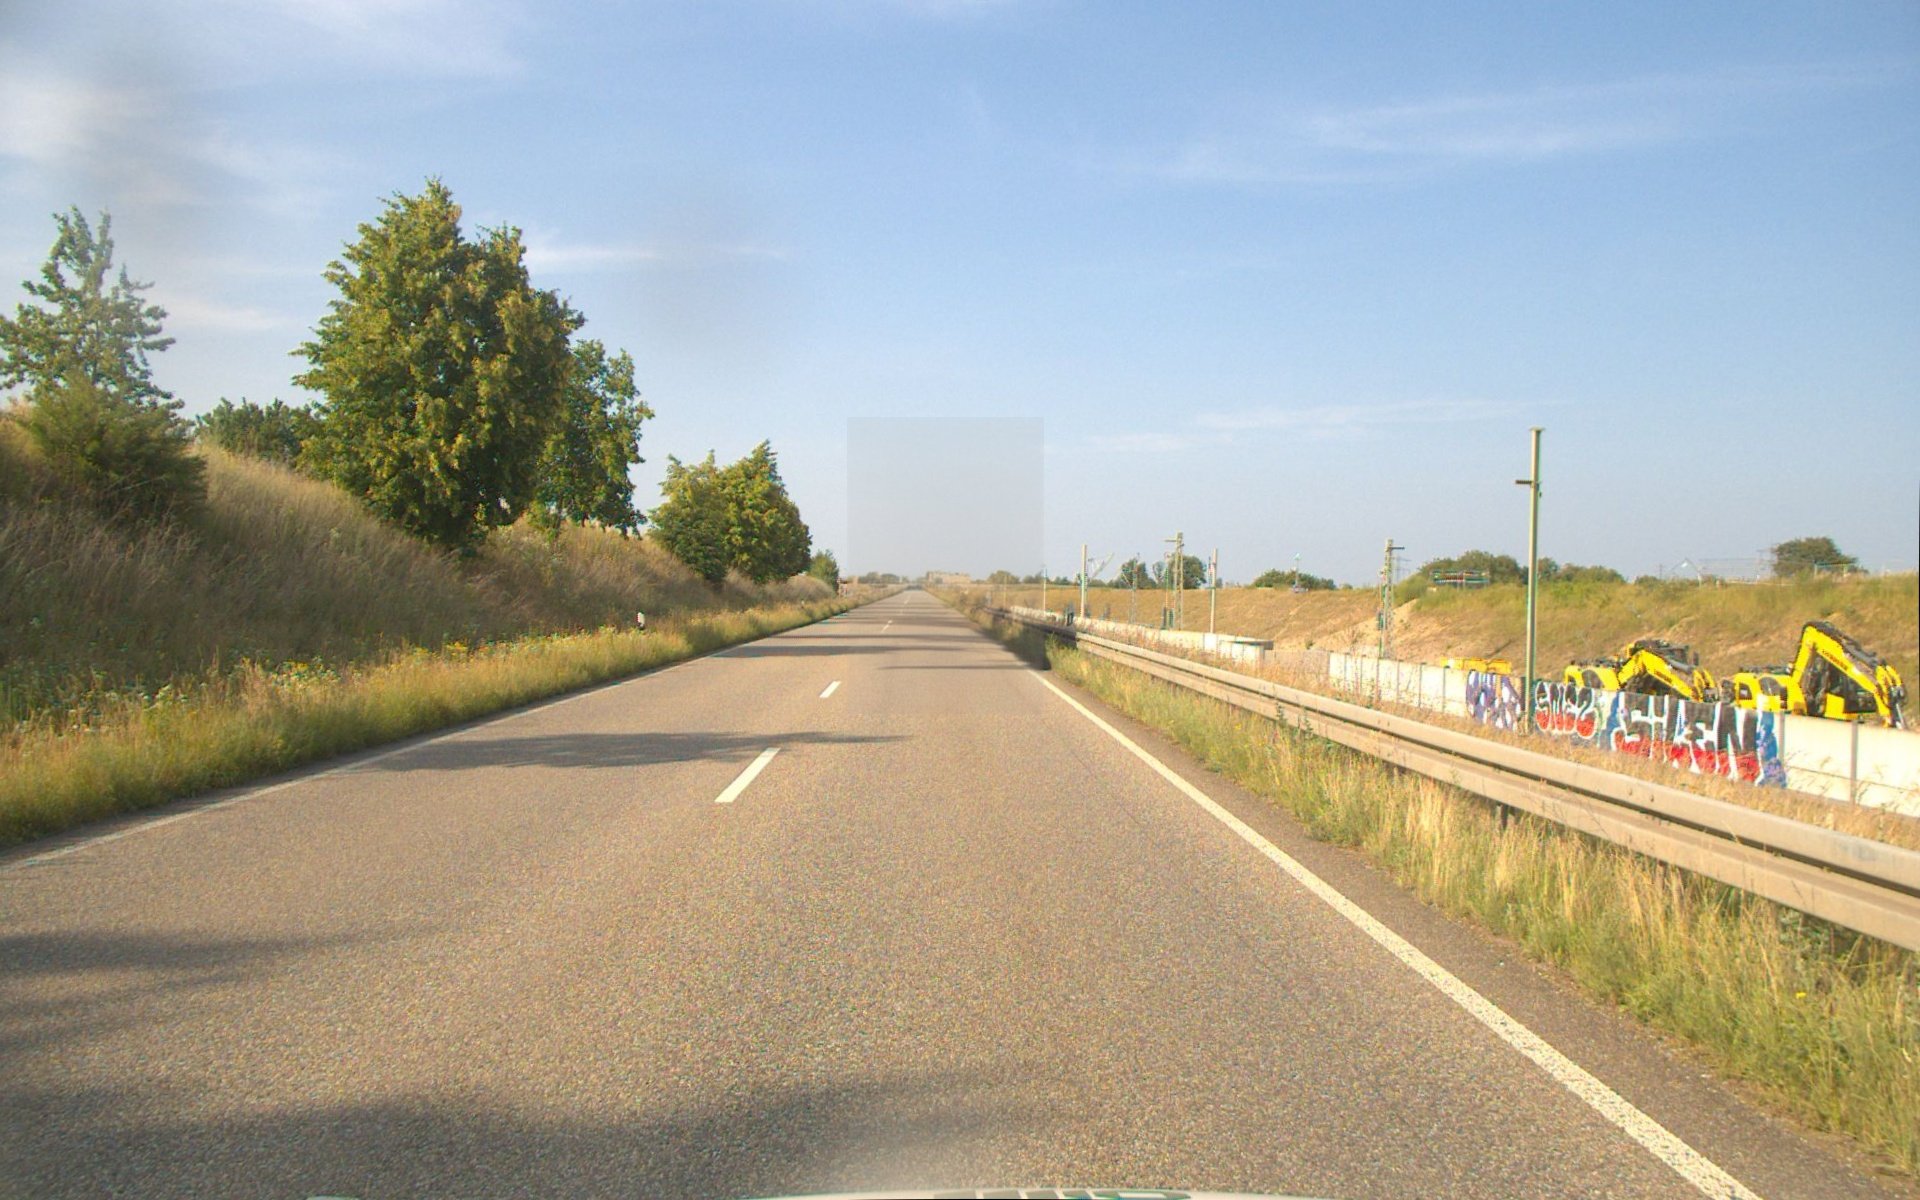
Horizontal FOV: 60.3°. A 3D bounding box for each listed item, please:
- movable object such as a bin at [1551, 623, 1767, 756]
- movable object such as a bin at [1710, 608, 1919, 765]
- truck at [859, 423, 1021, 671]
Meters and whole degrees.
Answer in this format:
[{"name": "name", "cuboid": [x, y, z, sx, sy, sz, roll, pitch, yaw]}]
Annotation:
[{"name": "movable object such as a bin", "cuboid": [19.883, 2.426, 47.650, 2.569, 3.296, 8.071, 1, 0, -2]}, {"name": "movable object such as a bin", "cuboid": [24.304, 2.269, 46.558, 2.740, 3.954, 7.535, 1, 0, -2]}, {"name": "truck", "cuboid": [-0.426, -1.050, 36.171, 3.089, 4.770, 8.440, 0, 0, -1]}]
